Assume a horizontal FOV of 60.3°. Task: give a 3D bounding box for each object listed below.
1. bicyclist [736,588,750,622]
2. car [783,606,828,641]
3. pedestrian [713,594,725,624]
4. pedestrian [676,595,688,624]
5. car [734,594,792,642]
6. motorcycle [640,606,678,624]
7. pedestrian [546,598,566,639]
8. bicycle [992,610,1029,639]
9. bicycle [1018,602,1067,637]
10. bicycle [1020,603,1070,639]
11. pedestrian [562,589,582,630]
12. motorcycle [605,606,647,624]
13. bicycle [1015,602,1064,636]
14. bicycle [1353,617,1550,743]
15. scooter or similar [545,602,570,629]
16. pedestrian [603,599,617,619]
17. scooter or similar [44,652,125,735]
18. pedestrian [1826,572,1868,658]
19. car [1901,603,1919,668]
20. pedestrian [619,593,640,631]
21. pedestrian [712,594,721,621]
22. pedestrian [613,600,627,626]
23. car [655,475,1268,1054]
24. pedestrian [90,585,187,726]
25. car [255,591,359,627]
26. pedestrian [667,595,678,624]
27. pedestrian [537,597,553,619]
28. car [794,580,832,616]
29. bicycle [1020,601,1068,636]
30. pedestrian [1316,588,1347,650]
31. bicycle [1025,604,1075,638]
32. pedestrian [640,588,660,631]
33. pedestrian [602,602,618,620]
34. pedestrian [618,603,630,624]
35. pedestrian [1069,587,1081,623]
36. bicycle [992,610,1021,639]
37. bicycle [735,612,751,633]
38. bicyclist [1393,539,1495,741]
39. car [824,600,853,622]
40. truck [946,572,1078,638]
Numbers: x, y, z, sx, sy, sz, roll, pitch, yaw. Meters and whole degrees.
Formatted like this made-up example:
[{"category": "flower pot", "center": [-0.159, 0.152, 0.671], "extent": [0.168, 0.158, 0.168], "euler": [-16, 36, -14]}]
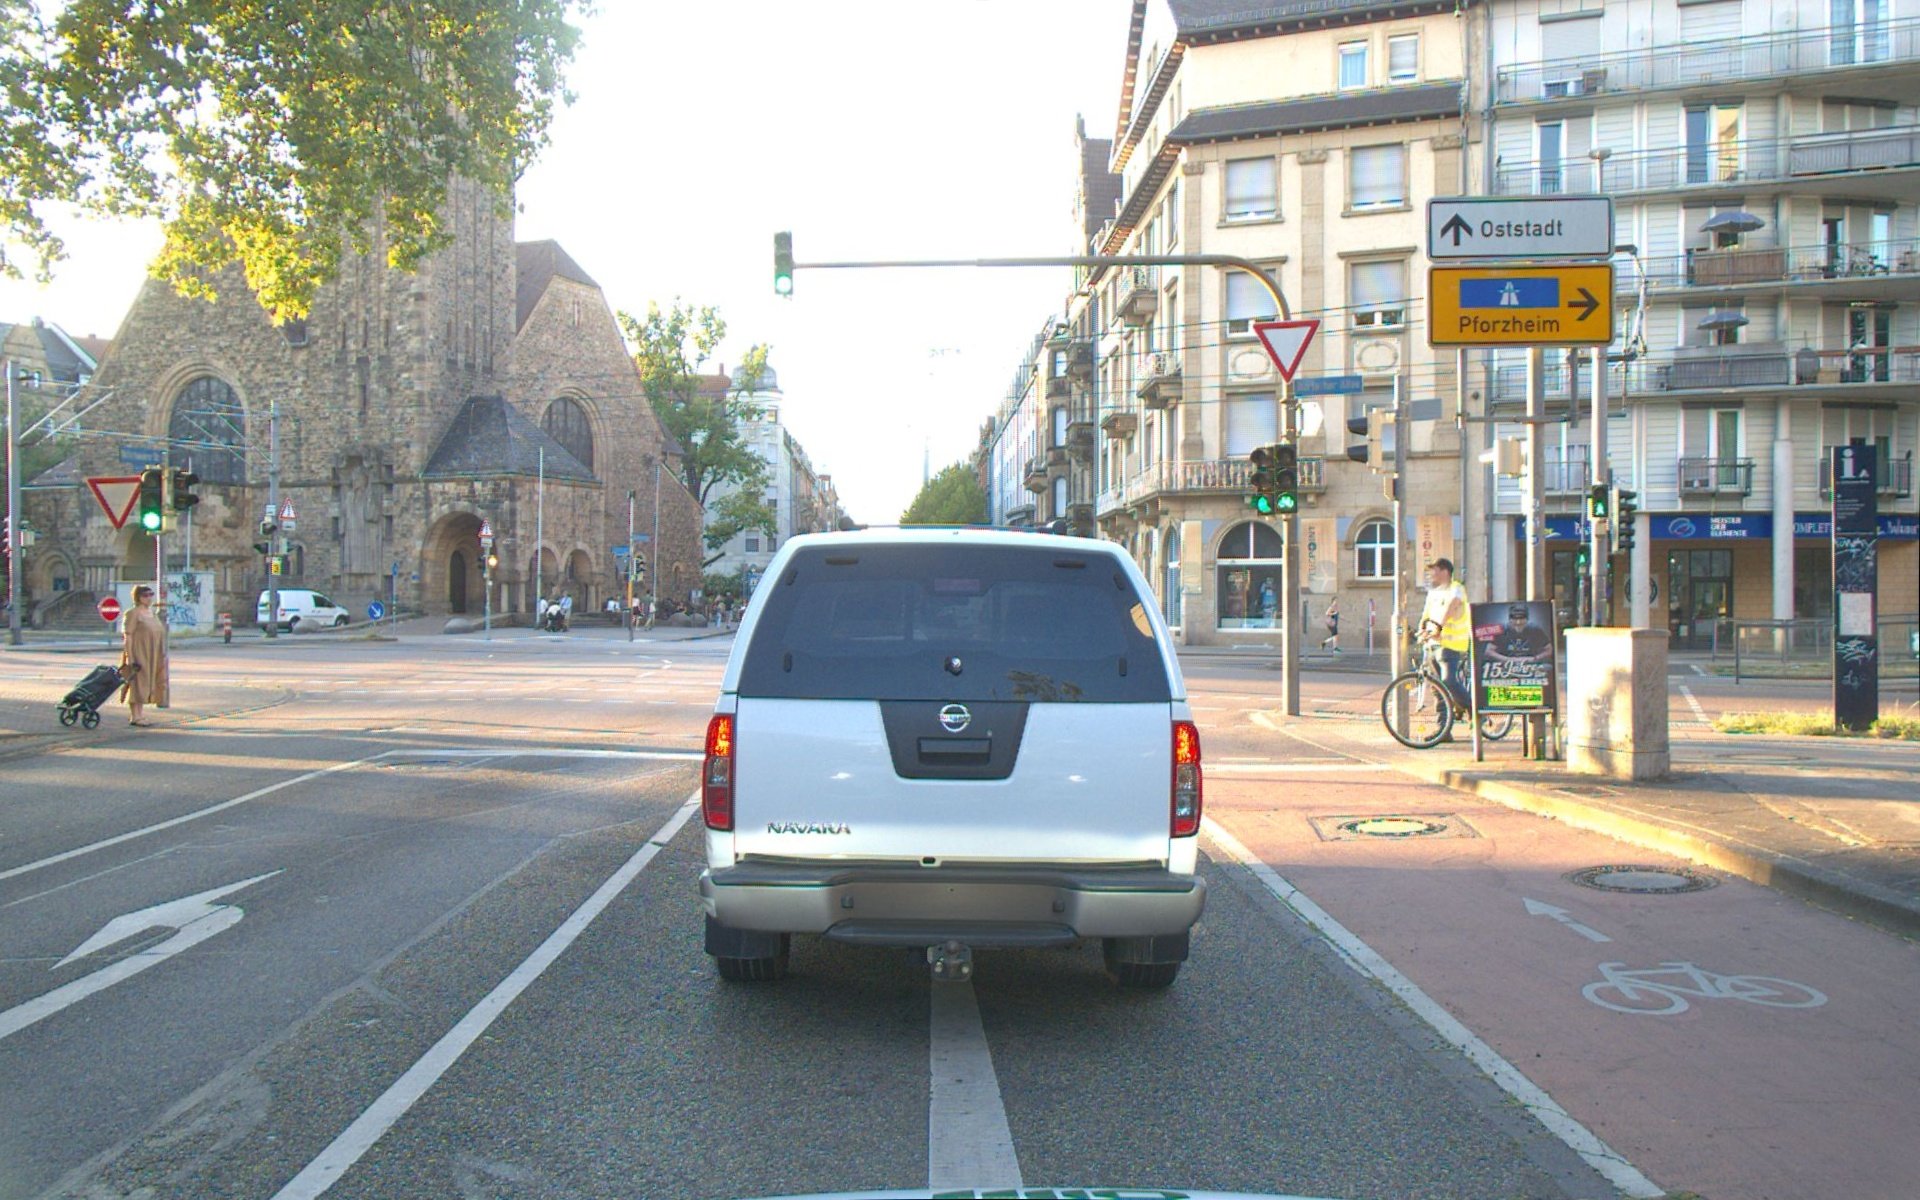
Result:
[{"category": "bicyclist", "center": [-10.870, 0.240, 82.879], "extent": [0.587, 1.673, 0.963], "euler": [1, -1, -2]}, {"category": "car", "center": [-7.620, 1.157, 81.958], "extent": [1.953, 1.585, 4.767], "euler": [0, 1, -3]}, {"category": "pedestrian", "center": [-15.394, 0.552, 105.584], "extent": [0.632, 1.888, 0.559], "euler": [1, -1, -15]}, {"category": "pedestrian", "center": [-16.724, 0.551, 99.559], "extent": [0.630, 1.725, 0.561], "euler": [1, -1, -2]}, {"category": "car", "center": [-7.902, 0.688, 66.754], "extent": [1.953, 1.815, 4.796], "euler": [0, 1, -2]}, {"category": "motorcycle", "center": [-17.430, 0.893, 95.731], "extent": [2.119, 1.005, 0.594], "euler": [1, -1, 19]}, {"category": "pedestrian", "center": [-17.465, 0.807, 71.545], "extent": [0.620, 1.728, 0.603], "euler": [1, -1, 7]}, {"category": "bicycle", "center": [1.956, 0.945, 64.310], "extent": [1.344, 1.042, 0.317], "euler": [-3, -1, -3]}, {"category": "bicycle", "center": [3.199, 0.762, 63.923], "extent": [1.781, 1.259, 0.477], "euler": [-3, -1, -3]}, {"category": "bicycle", "center": [3.251, 0.809, 63.213], "extent": [1.781, 1.259, 0.487], "euler": [-3, -1, -3]}, {"category": "pedestrian", "center": [-16.801, 0.418, 71.547], "extent": [0.620, 1.728, 0.603], "euler": [1, -1, 10]}, {"category": "motorcycle", "center": [-18.461, 0.832, 91.399], "extent": [2.201, 1.005, 0.707], "euler": [1, -1, -7]}, {"category": "bicycle", "center": [3.156, 0.748, 65.785], "extent": [1.818, 1.259, 0.530], "euler": [-3, -1, -3]}, {"category": "bicycle", "center": [4.681, 0.741, 15.689], "extent": [2.046, 1.129, 0.621], "euler": [1, -1, -34]}, {"category": "scooter or similar", "center": [-17.187, 0.663, 70.559], "extent": [0.620, 1.122, 1.079], "euler": [1, -1, 10]}, {"category": "pedestrian", "center": [-16.950, 0.433, 80.137], "extent": [0.510, 0.977, 0.479], "euler": [1, -1, 16]}, {"category": "scooter or similar", "center": [-10.049, 1.068, 19.012], "extent": [0.580, 0.913, 0.849], "euler": [1, -1, -11]}, {"category": "pedestrian", "center": [23.343, 0.393, 43.532], "extent": [0.850, 2.247, 0.821], "euler": [1, -1, 19]}, {"category": "car", "center": [24.515, 0.873, 38.922], "extent": [3.907, 1.512, 1.849], "euler": [1, -1, 24]}, {"category": "pedestrian", "center": [-14.982, 0.556, 74.964], "extent": [0.796, 1.699, 0.859], "euler": [1, -1, -3]}, {"category": "pedestrian", "center": [-15.652, 0.471, 106.419], "extent": [0.549, 1.725, 0.643], "euler": [1, -1, -9]}, {"category": "pedestrian", "center": [-16.770, 0.636, 81.503], "extent": [0.468, 1.267, 0.523], "euler": [1, -1, 16]}, {"category": "car", "center": [-0.018, 0.556, 7.360], "extent": [1.953, 1.841, 3.999], "euler": [1, -1, -1]}, {"category": "pedestrian", "center": [-9.877, 0.661, 19.920], "extent": [0.786, 1.656, 0.773], "euler": [1, -1, -6]}, {"category": "car", "center": [-29.211, 0.427, 74.099], "extent": [1.679, 1.543, 4.454], "euler": [1, -1, 23]}, {"category": "pedestrian", "center": [-16.917, 0.566, 97.340], "extent": [0.631, 1.725, 0.560], "euler": [1, -1, -10]}, {"category": "pedestrian", "center": [-18.720, 0.349, 74.676], "extent": [0.511, 0.977, 0.479], "euler": [1, -1, 18]}, {"category": "car", "center": [-8.568, -0.097, 96.758], "extent": [1.953, 2.049, 4.948], "euler": [0, -1, -2]}, {"category": "bicycle", "center": [3.287, 0.736, 64.651], "extent": [1.781, 1.259, 0.412], "euler": [-3, -1, -3]}, {"category": "pedestrian", "center": [10.893, 0.554, 48.448], "extent": [0.771, 1.810, 0.543], "euler": [0, -1, 24]}, {"category": "bicycle", "center": [3.384, 0.788, 62.275], "extent": [1.781, 1.170, 0.636], "euler": [-3, -1, -3]}, {"category": "pedestrian", "center": [-14.084, 0.433, 75.144], "extent": [0.796, 1.934, 0.666], "euler": [1, -1, -3]}, {"category": "pedestrian", "center": [-18.688, 0.589, 88.225], "extent": [0.540, 0.977, 0.710], "euler": [1, -1, 20]}, {"category": "pedestrian", "center": [-16.254, 0.647, 80.027], "extent": [0.513, 0.977, 0.477], "euler": [1, -1, -17]}, {"category": "pedestrian", "center": [5.371, 0.223, 77.236], "extent": [0.517, 1.683, 0.547], "euler": [1, -1, -1]}, {"category": "bicycle", "center": [1.779, 0.950, 63.595], "extent": [1.055, 1.042, 0.317], "euler": [-3, -1, -3]}, {"category": "bicycle", "center": [-10.861, 1.125, 82.824], "extent": [0.587, 1.062, 1.945], "euler": [1, -1, -2]}, {"category": "bicyclist", "center": [4.564, 0.371, 15.608], "extent": [0.690, 1.856, 0.621], "euler": [1, -1, -33]}, {"category": "car", "center": [-8.754, 0.809, 119.566], "extent": [1.821, 1.556, 3.999], "euler": [1, -1, -1]}, {"category": "truck", "center": [2.222, 0.226, 68.821], "extent": [5.630, 2.610, 2.250], "euler": [1, -1, -45]}]
